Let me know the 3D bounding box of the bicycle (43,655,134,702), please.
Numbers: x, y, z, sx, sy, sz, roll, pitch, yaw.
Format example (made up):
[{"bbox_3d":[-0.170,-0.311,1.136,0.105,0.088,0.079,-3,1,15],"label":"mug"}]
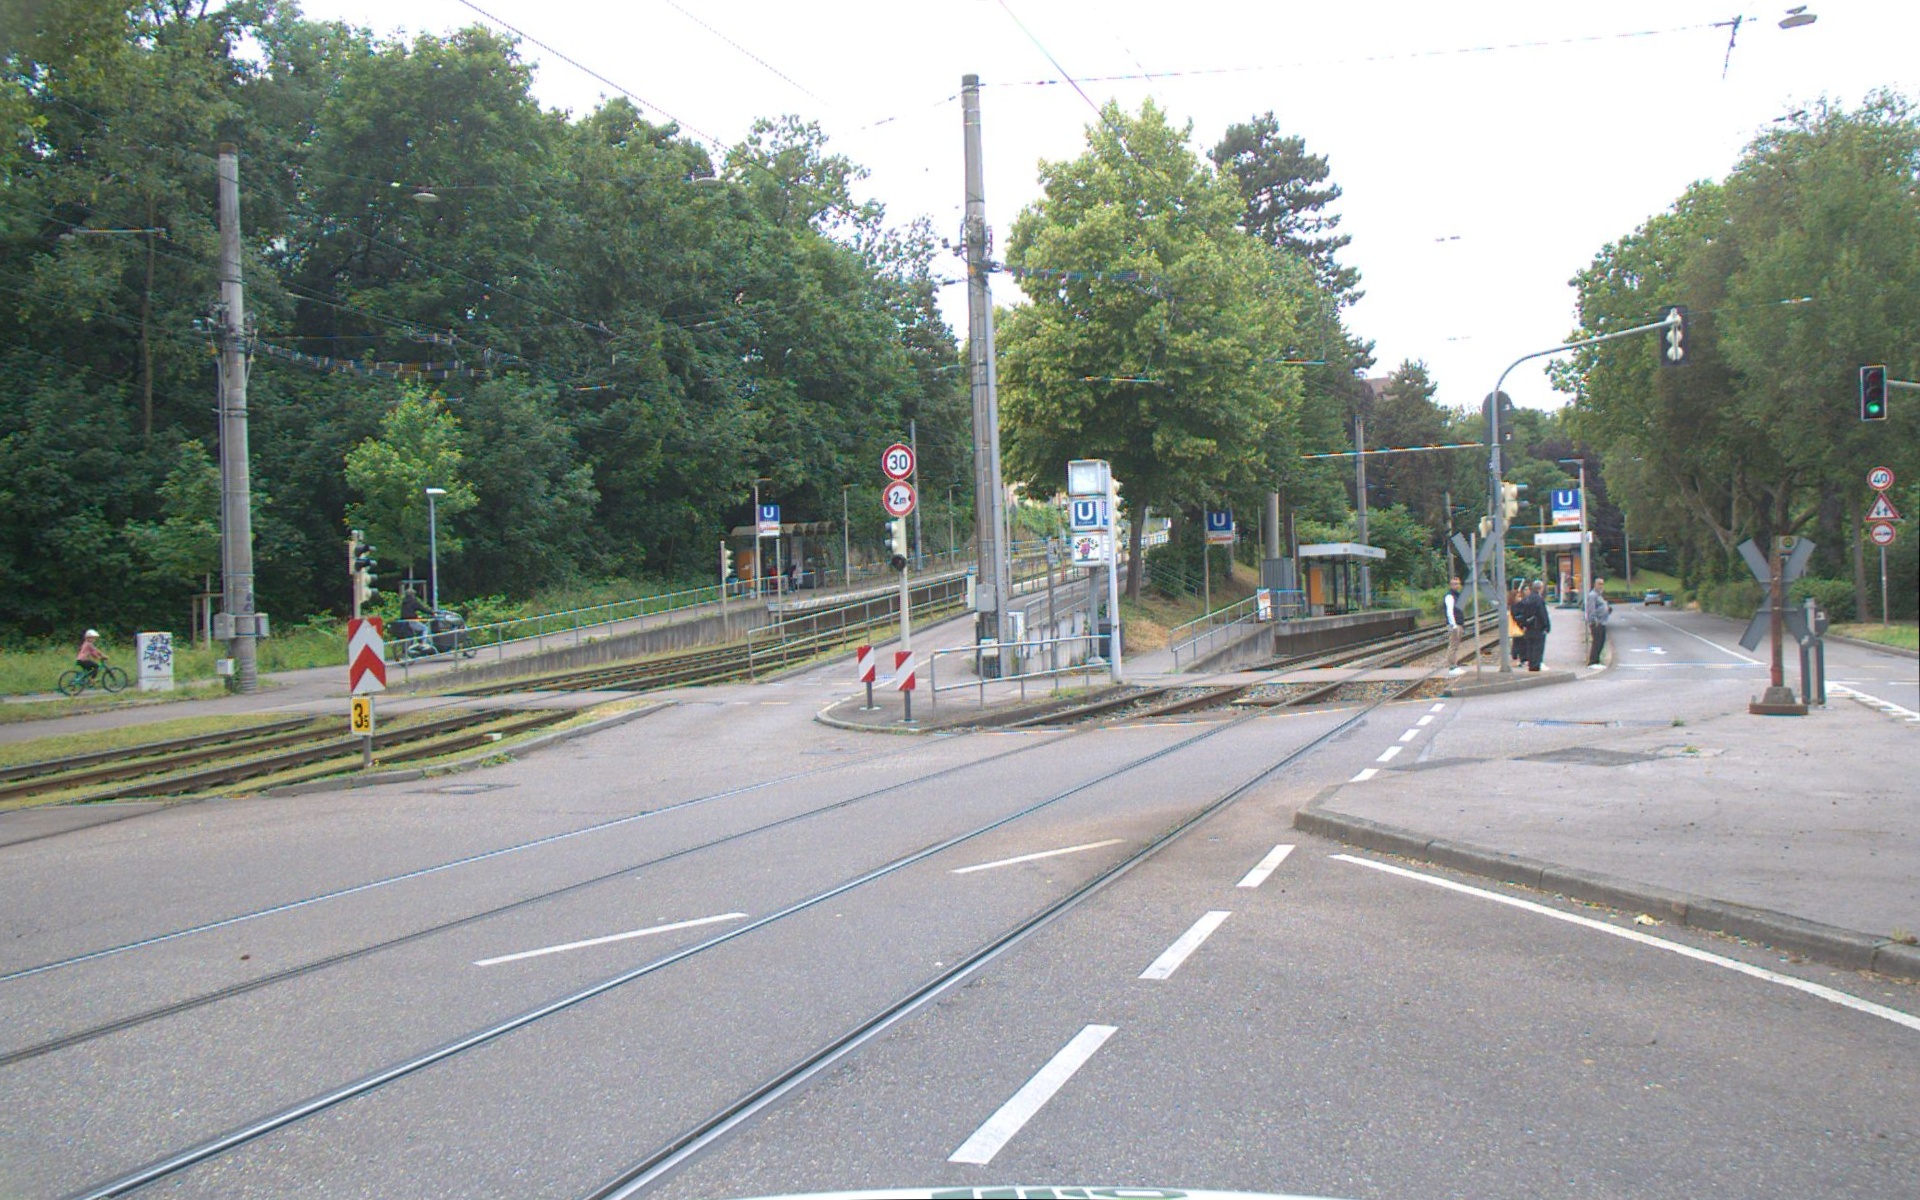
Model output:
[{"bbox_3d":[-17.787,1.592,33.769,1.545,0.751,0.448,-5,6,-41],"label":"bicycle"}]

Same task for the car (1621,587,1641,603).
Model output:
[{"bbox_3d":[68.243,-0.487,168.301,1.707,1.626,4.001,1,0,20],"label":"car"}]

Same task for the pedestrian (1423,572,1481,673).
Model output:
[{"bbox_3d":[9.135,0.404,30.715,0.789,1.853,0.667,0,0,-16],"label":"pedestrian"}]

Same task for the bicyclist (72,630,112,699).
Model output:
[{"bbox_3d":[-17.738,1.305,33.789,0.576,1.323,0.448,-5,6,-41],"label":"bicyclist"}]

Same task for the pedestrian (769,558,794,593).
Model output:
[{"bbox_3d":[-7.203,-0.991,66.738,0.755,1.349,0.788,1,3,13],"label":"pedestrian"}]

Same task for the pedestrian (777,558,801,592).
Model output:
[{"bbox_3d":[-6.993,-1.021,67.790,0.755,1.349,0.788,1,0,13],"label":"pedestrian"}]

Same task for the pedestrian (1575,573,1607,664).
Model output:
[{"bbox_3d":[12.598,0.367,33.012,0.539,1.789,0.737,1,0,25],"label":"pedestrian"}]

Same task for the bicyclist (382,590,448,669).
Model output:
[{"bbox_3d":[-12.933,0.688,39.278,0.720,1.740,1.288,2,5,35],"label":"bicyclist"}]

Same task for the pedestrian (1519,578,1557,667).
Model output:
[{"bbox_3d":[11.182,0.434,32.011,0.665,1.694,0.738,1,0,18],"label":"pedestrian"}]

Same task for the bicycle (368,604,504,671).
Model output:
[{"bbox_3d":[-12.566,0.866,39.821,0.720,1.311,3.336,2,5,35],"label":"bicycle"}]

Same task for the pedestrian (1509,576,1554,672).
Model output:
[{"bbox_3d":[10.316,0.425,29.852,0.720,1.694,0.681,1,0,22],"label":"pedestrian"}]
